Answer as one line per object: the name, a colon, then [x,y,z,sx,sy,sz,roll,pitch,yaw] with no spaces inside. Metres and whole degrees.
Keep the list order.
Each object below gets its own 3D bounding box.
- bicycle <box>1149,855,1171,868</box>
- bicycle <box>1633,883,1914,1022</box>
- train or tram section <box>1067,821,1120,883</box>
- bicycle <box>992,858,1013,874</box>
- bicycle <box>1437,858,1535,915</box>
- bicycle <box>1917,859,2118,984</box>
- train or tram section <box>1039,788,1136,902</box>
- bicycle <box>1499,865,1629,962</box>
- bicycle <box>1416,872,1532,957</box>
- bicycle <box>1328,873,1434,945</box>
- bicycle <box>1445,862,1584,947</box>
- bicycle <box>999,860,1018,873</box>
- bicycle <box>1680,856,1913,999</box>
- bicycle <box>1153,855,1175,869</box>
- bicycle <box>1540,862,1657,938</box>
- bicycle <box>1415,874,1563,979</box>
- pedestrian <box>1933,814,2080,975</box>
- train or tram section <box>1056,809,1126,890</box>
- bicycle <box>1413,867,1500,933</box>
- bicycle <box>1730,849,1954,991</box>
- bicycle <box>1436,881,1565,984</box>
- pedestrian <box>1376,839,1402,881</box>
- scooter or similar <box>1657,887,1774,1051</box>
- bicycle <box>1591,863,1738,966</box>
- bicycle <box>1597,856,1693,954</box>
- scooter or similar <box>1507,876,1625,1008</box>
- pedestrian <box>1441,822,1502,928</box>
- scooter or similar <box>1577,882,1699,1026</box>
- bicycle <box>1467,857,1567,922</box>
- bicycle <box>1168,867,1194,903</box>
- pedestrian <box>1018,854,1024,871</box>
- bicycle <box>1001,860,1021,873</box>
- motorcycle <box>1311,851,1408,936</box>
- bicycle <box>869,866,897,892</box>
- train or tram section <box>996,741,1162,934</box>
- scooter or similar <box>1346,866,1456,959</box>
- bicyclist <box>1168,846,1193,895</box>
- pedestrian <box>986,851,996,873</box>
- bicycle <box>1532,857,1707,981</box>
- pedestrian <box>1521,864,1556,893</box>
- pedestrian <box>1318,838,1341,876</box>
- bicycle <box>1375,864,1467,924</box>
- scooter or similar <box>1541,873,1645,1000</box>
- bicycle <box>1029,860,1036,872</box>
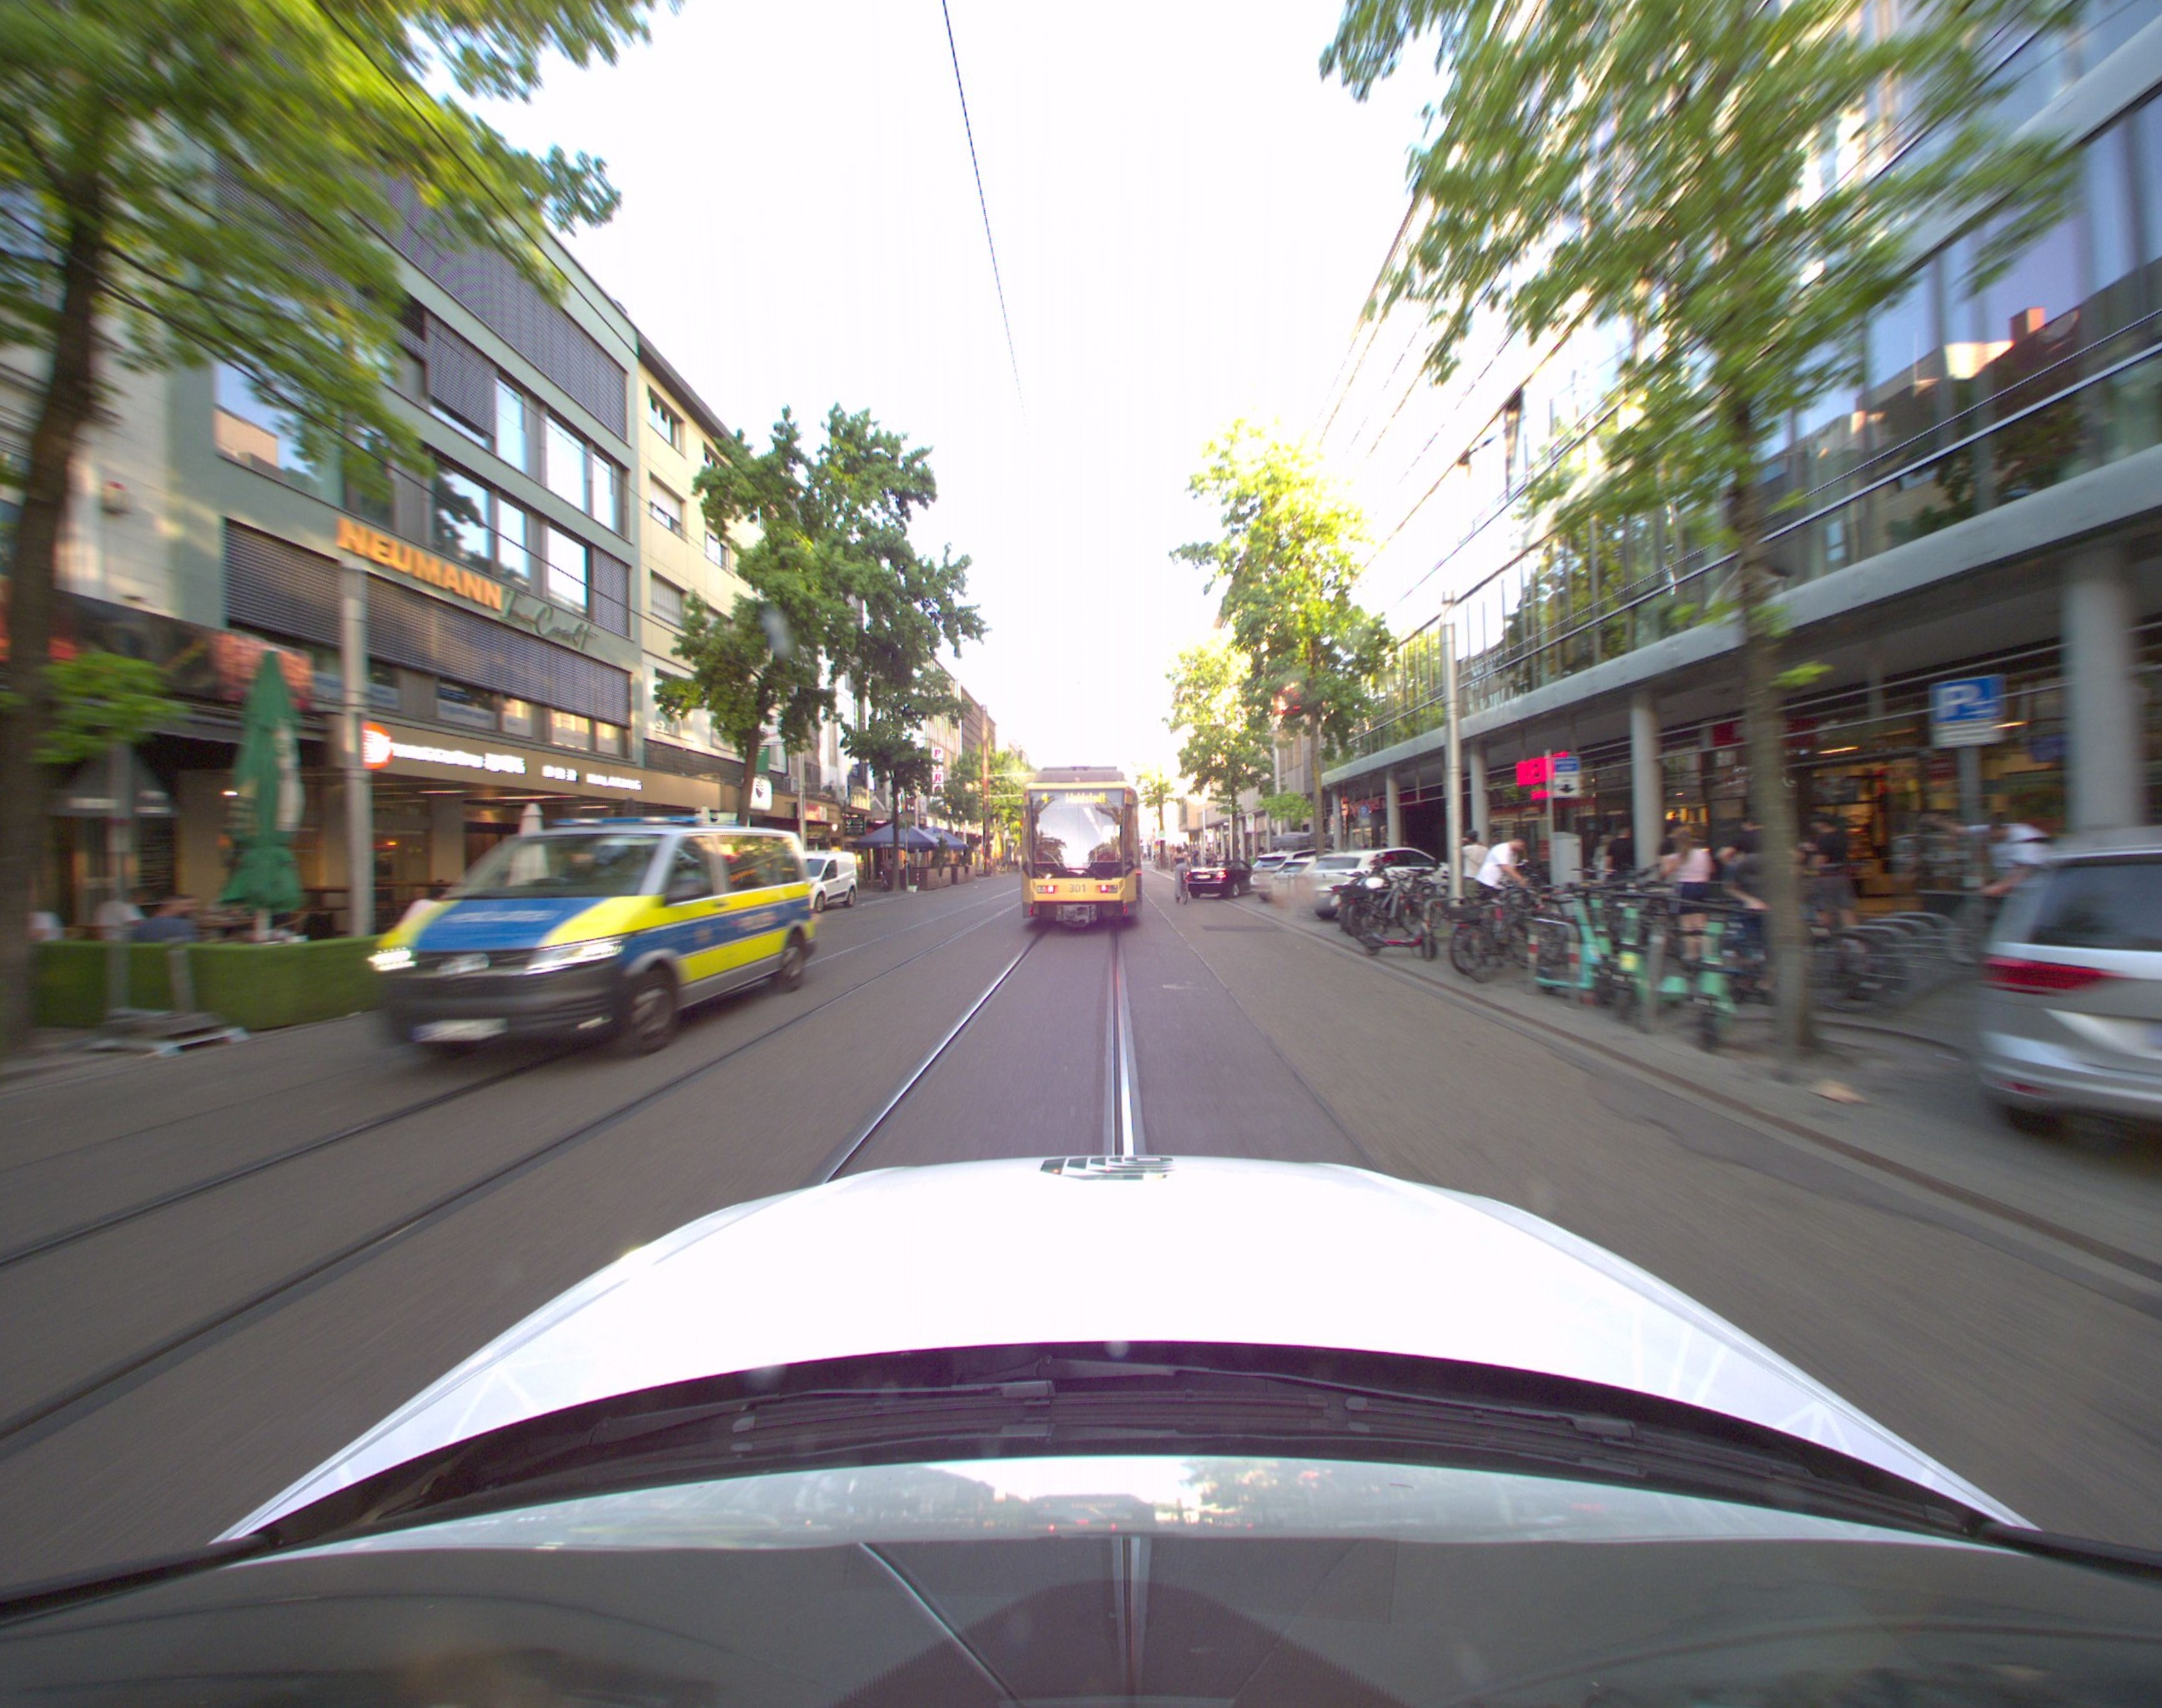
bicycle: [9.087,0.903,93.665,2.322,1.472,0.790,-1,-1,-2]
bicycle: [6.353,0.836,7.588,0.633,1.076,1.860,-4,1,-33]
train or tram section: [0.822,-0.099,51.995,3.033,3.523,10.533,0,0,1]
bicycle: [-6.981,1.030,72.122,1.797,1.360,0.658,2,-1,-11]
bicycle: [8.779,0.683,17.660,1.751,1.117,0.929,-3,0,-22]
bicycle: [9.424,0.625,8.301,0.567,1.083,1.894,-3,0,24]
train or tram section: [0.329,-0.268,30.679,2.997,3.523,10.404,-1,0,1]
bicycle: [6.507,0.771,10.965,1.686,1.138,0.475,-4,1,-18]
bicycle: [5.964,0.877,12.329,1.839,1.076,0.618,-4,1,-30]
bicycle: [5.304,0.934,14.376,1.755,1.117,0.799,-3,0,-30]
bicycle: [6.839,0.763,12.855,1.998,1.148,0.694,-4,1,-17]
bicycle: [-6.766,1.154,76.342,1.728,1.126,0.563,1,-1,-2]
bicycle: [6.991,0.695,8.069,1.640,1.250,0.645,-3,1,38]
bicycle: [9.076,0.904,89.571,2.322,1.472,0.790,-1,-1,-2]
bicycle: [8.472,0.720,13.325,1.838,1.094,0.816,-2,0,-30]
bicycle: [5.355,0.897,10.659,1.999,1.130,0.674,-4,1,-29]
pedestrian: [9.472,0.403,8.372,0.753,1.572,0.635,-2,-1,24]
train or tram section: [0.571,-0.187,41.302,2.992,3.523,10.847,-1,0,1]
bicycle: [7.014,0.836,15.187,1.601,1.033,0.548,-6,1,-28]
bicycle: [7.650,0.638,8.280,1.574,1.288,0.583,-3,1,41]
bicycle: [5.258,0.938,10.168,1.753,1.076,0.489,-4,1,-29]
pedestrian: [12.286,0.212,32.487,0.594,1.616,1.022,-3,1,1]
scooter or similar: [5.359,0.897,6.848,1.409,1.150,0.573,-3,1,-45]
bicycle: [7.419,0.739,10.361,1.692,1.149,0.499,-4,1,-14]
bicycle: [7.942,0.682,11.439,1.703,1.189,0.549,-4,1,-36]
scooter or similar: [5.030,0.872,8.523,0.480,1.222,1.215,-4,-1,3]
pedestrian: [7.049,0.369,14.693,0.823,1.812,0.593,-5,2,-37]
scooter or similar: [5.269,0.893,7.680,1.338,1.182,0.493,-2,0,-36]
bicycle: [8.552,0.675,15.972,1.796,1.117,0.837,-3,0,-28]
bicycle: [3.130,0.952,25.739,0.653,1.060,2.058,0,0,2]
pedestrian: [-6.147,0.901,83.453,0.573,1.687,0.551,1,-1,-8]
bicycle: [-6.348,1.112,73.899,1.730,1.126,0.612,2,-1,-5]
motorcycle: [5.517,0.738,16.069,2.218,1.471,0.786,-4,1,-42]
bicycle: [-8.960,1.099,36.760,0.815,1.103,2.148,-1,0,-24]
train or tram section: [0.075,-0.269,20.293,3.006,3.524,10.372,-1,-1,1]
scooter or similar: [4.891,0.860,12.498,0.700,1.304,1.378,-3,0,-37]
bicyclist: [3.145,0.514,25.842,0.724,1.527,0.734,0,-1,2]
pedestrian: [-8.524,0.771,77.295,0.845,2.014,0.922,-1,-1,2]
bicycle: [6.380,0.727,9.659,1.832,1.273,0.677,-4,1,-17]
pedestrian: [12.717,0.667,22.652,0.604,0.782,0.665,-2,-1,4]
pedestrian: [12.609,0.143,41.290,0.829,1.836,0.944,-2,1,2]
bicycle: [7.160,0.810,17.120,1.756,1.117,0.909,-3,0,-33]
scooter or similar: [5.485,0.849,8.799,0.564,1.205,1.287,-3,0,16]
bicycle: [-4.894,1.197,82.342,0.610,1.126,2.249,1,-1,-3]
